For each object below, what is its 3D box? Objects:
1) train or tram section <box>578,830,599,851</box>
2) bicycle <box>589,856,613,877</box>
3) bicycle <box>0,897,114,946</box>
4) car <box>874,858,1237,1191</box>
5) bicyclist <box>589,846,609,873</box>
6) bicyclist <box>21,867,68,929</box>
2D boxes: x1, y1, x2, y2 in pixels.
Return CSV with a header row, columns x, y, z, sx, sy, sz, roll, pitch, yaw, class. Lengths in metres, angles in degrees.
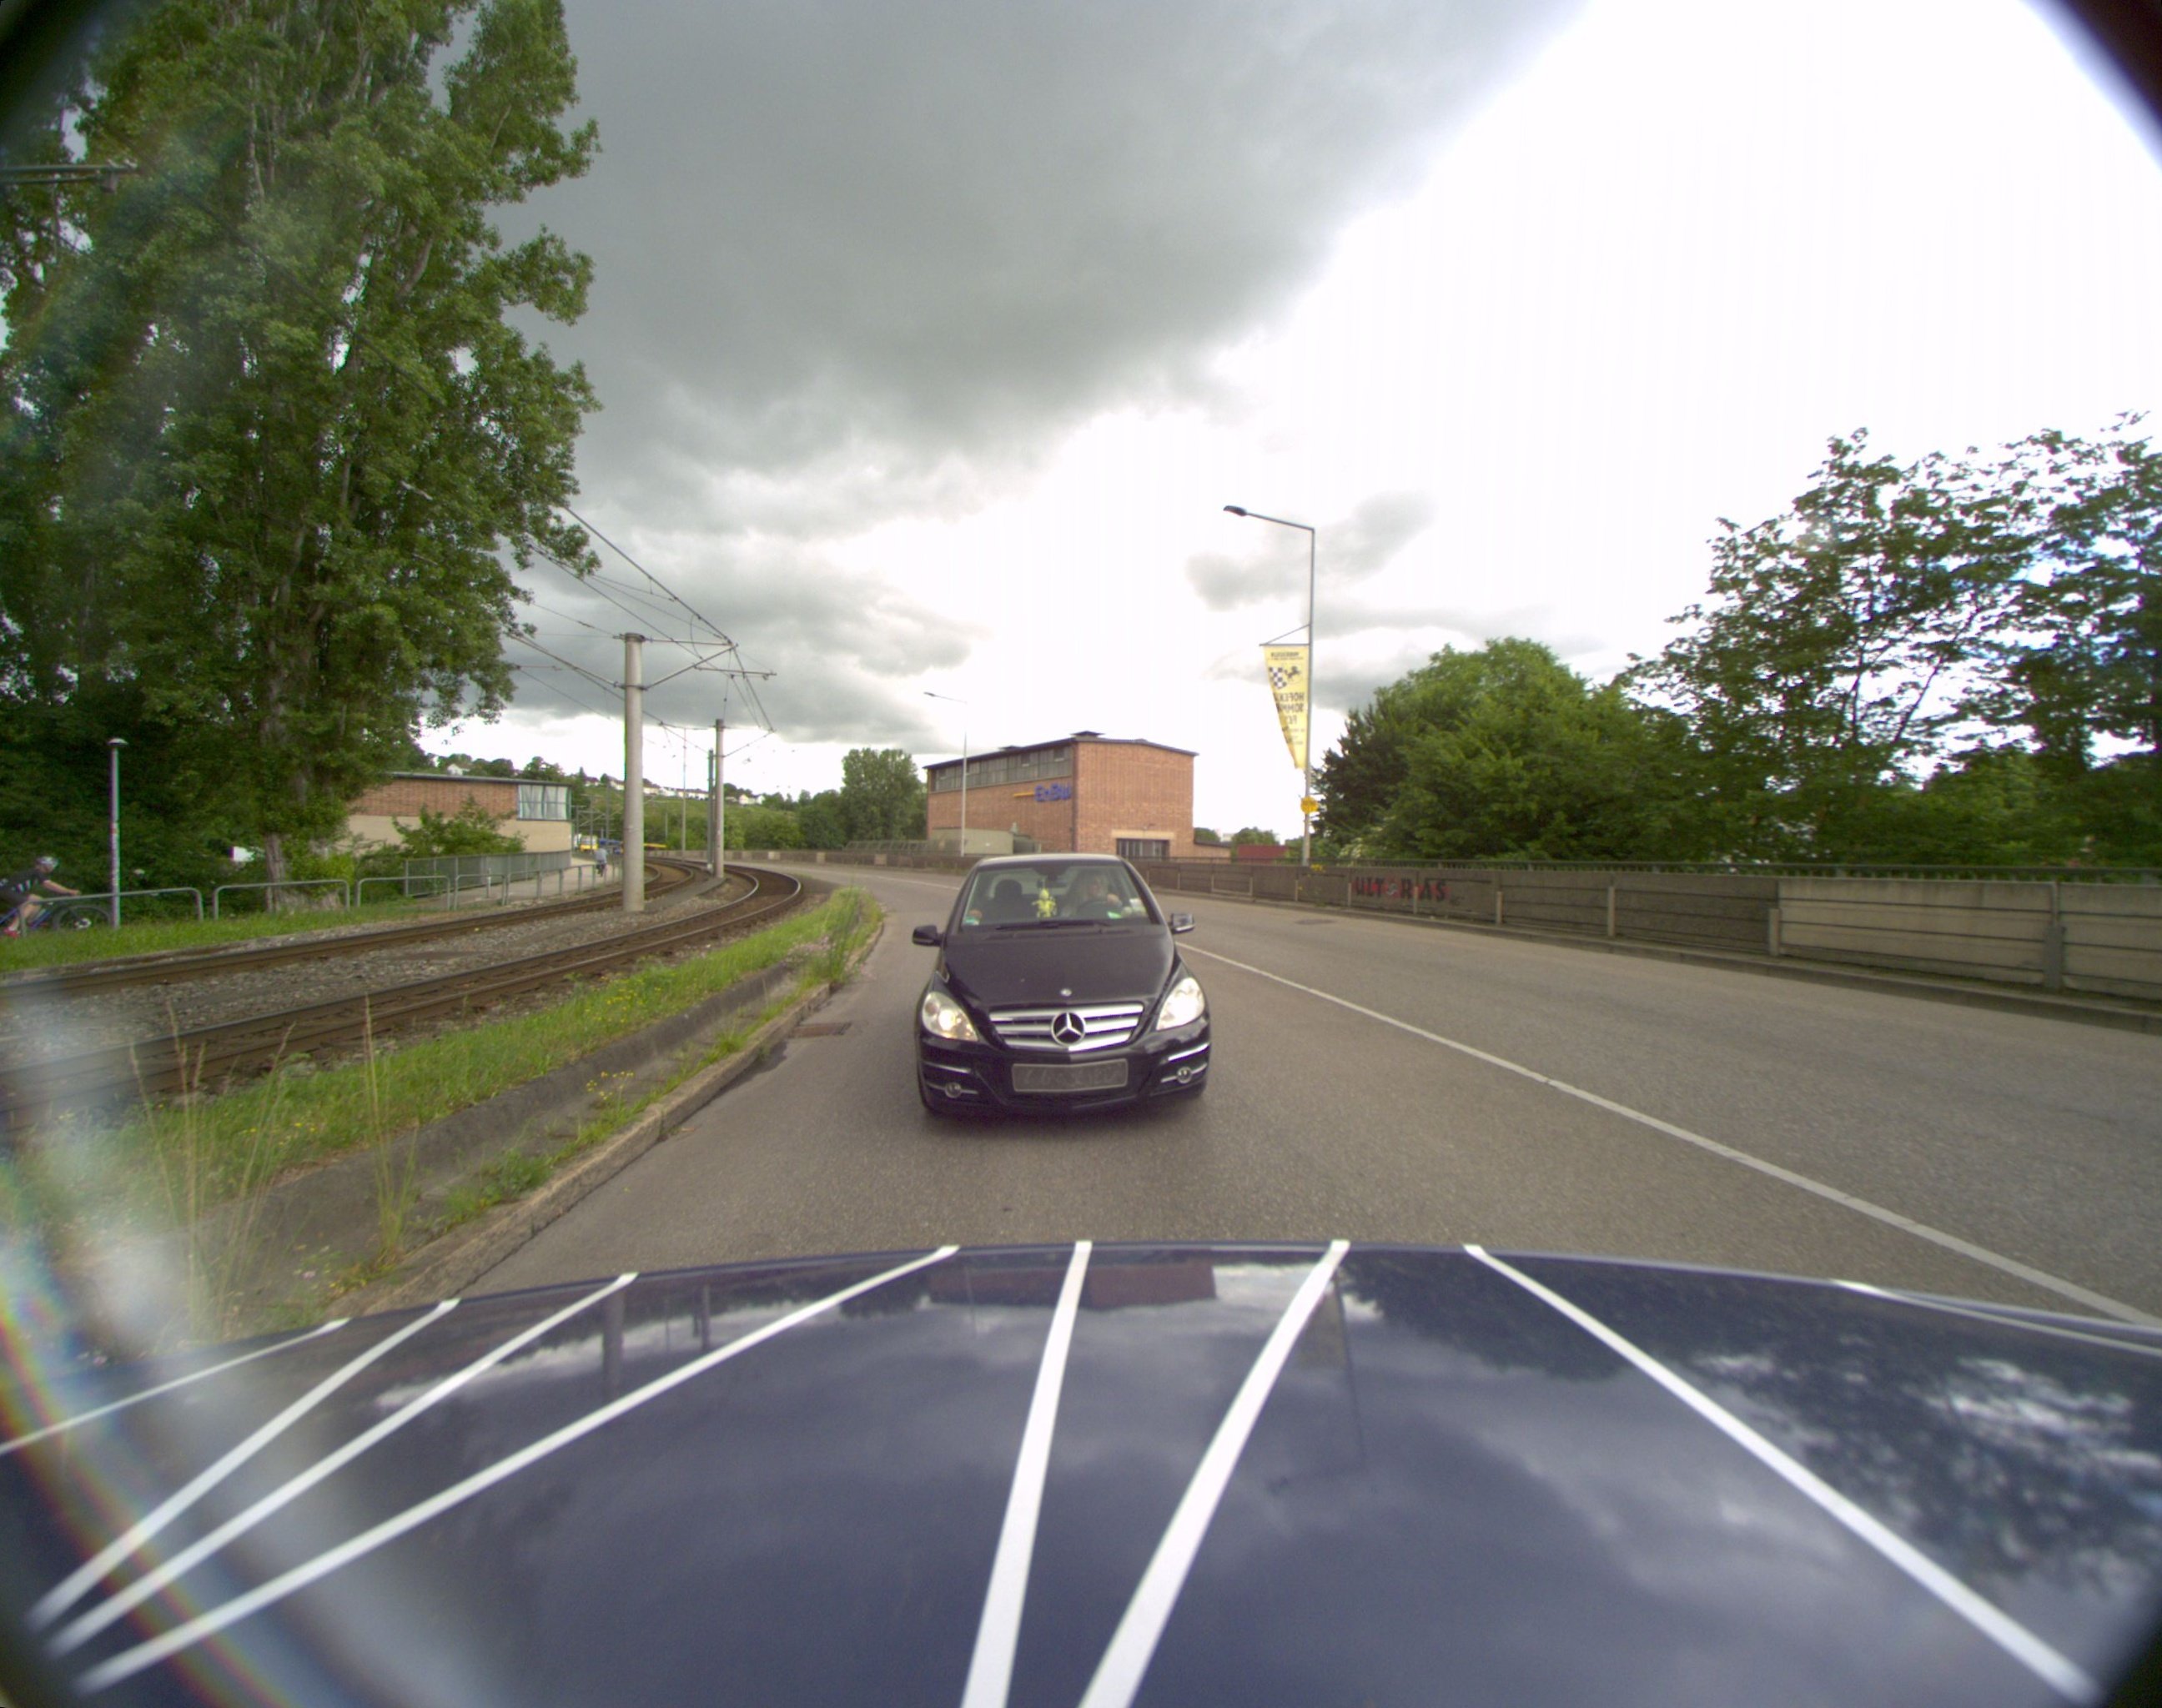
x,y,z,sx,sy,sz,roll,pitch,yaw,class
-93.524,-2.544,144.197,3.038,3.896,9.416,0,1,-34,train or tram section
-23.960,0.611,37.968,0.427,1.044,2.077,-1,1,-17,bicycle
-18.756,1.213,13.730,0.347,0.790,1.551,0,1,35,bicycle
-0.197,0.892,5.923,1.861,1.612,3.998,0,1,-2,car
-24.052,0.274,37.903,0.596,1.352,0.909,-1,1,-18,bicyclist
-18.750,0.787,13.745,0.416,1.077,0.475,0,1,35,bicyclist
